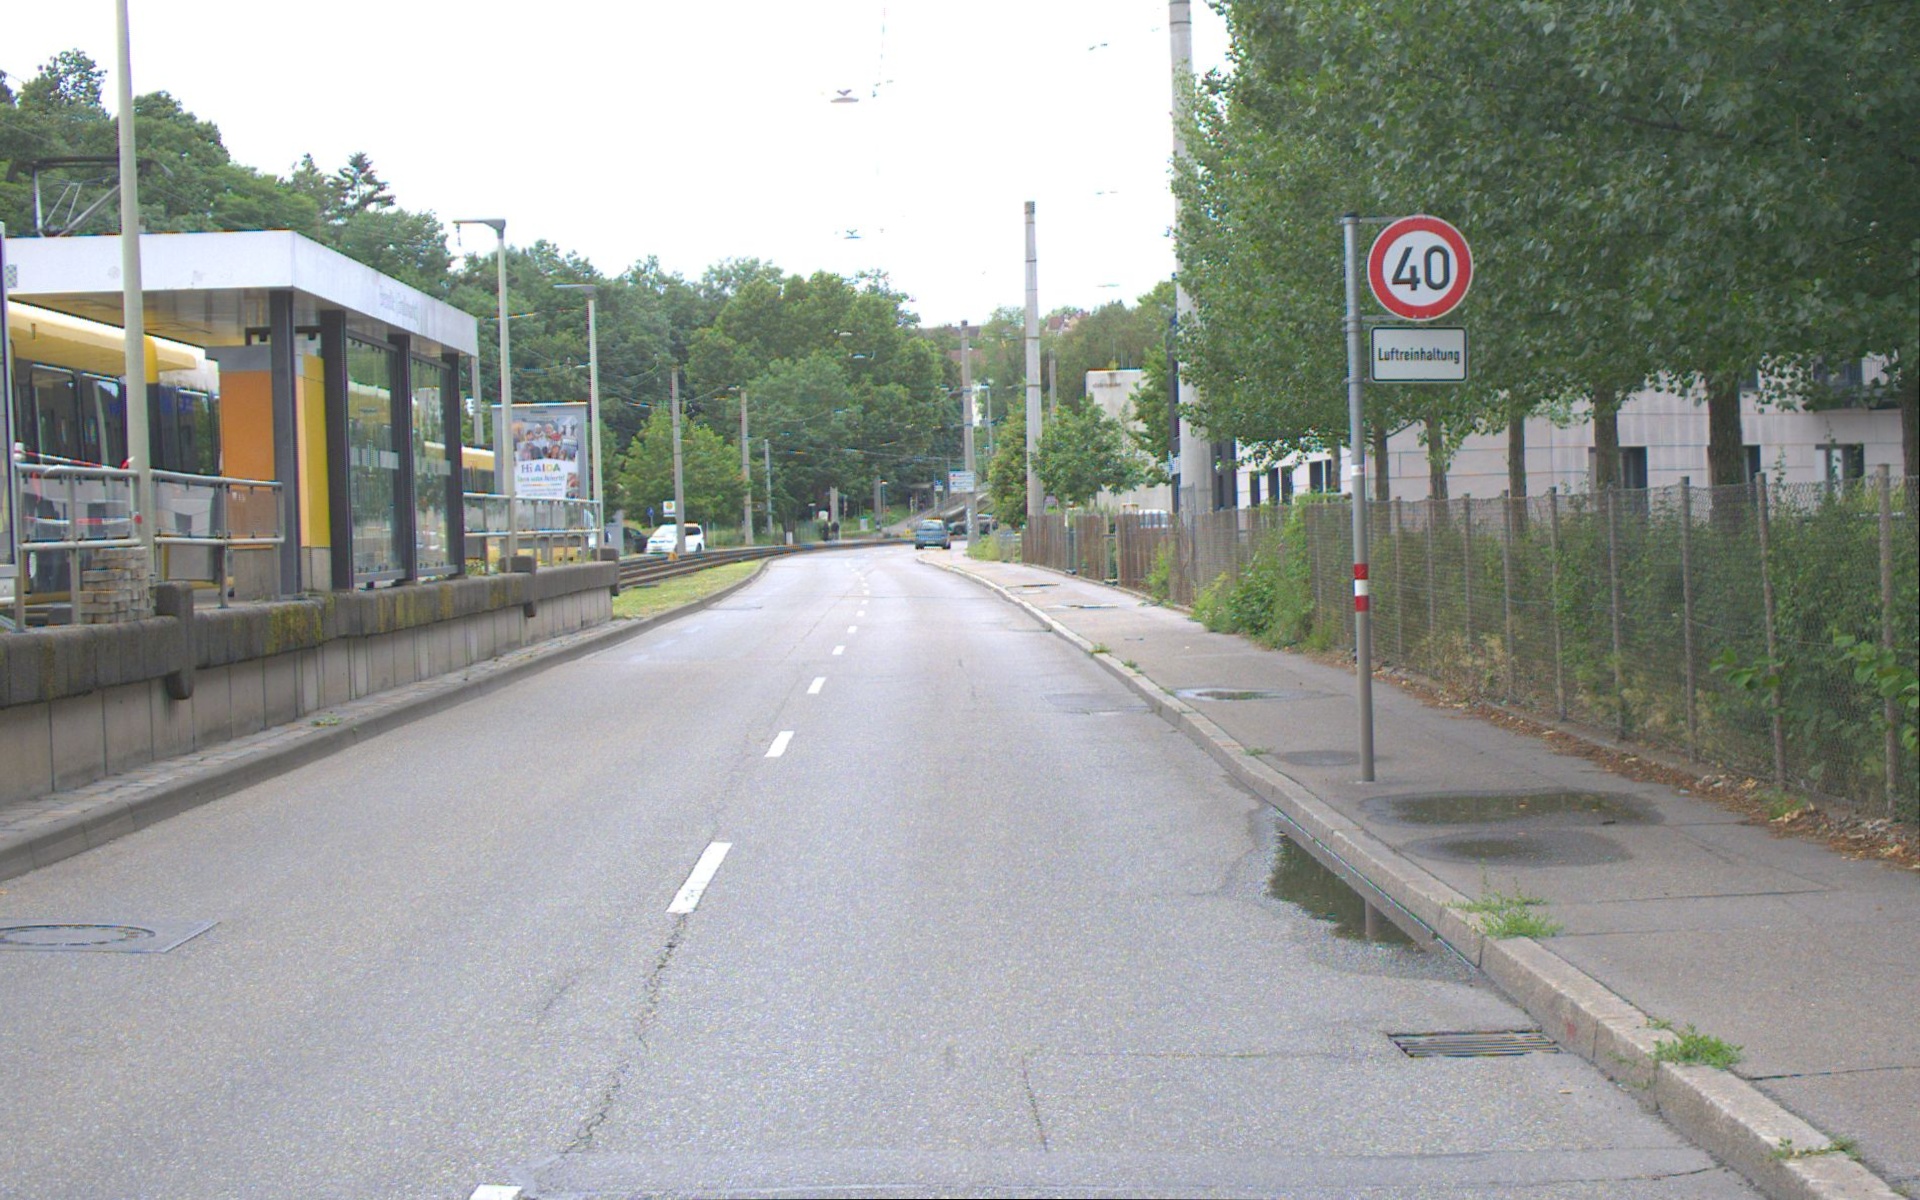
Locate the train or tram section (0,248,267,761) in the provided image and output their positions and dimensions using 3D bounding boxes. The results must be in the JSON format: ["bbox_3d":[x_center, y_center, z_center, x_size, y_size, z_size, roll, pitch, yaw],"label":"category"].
[{"bbox_3d":[-8.870,-0.888,31.415,2.740,3.952,11.914,-2,2,-1],"label":"train or tram section"}]

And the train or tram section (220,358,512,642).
[{"bbox_3d":[-9.339,-1.646,55.310,2.971,4.051,10.198,-2,2,-1],"label":"train or tram section"}]
